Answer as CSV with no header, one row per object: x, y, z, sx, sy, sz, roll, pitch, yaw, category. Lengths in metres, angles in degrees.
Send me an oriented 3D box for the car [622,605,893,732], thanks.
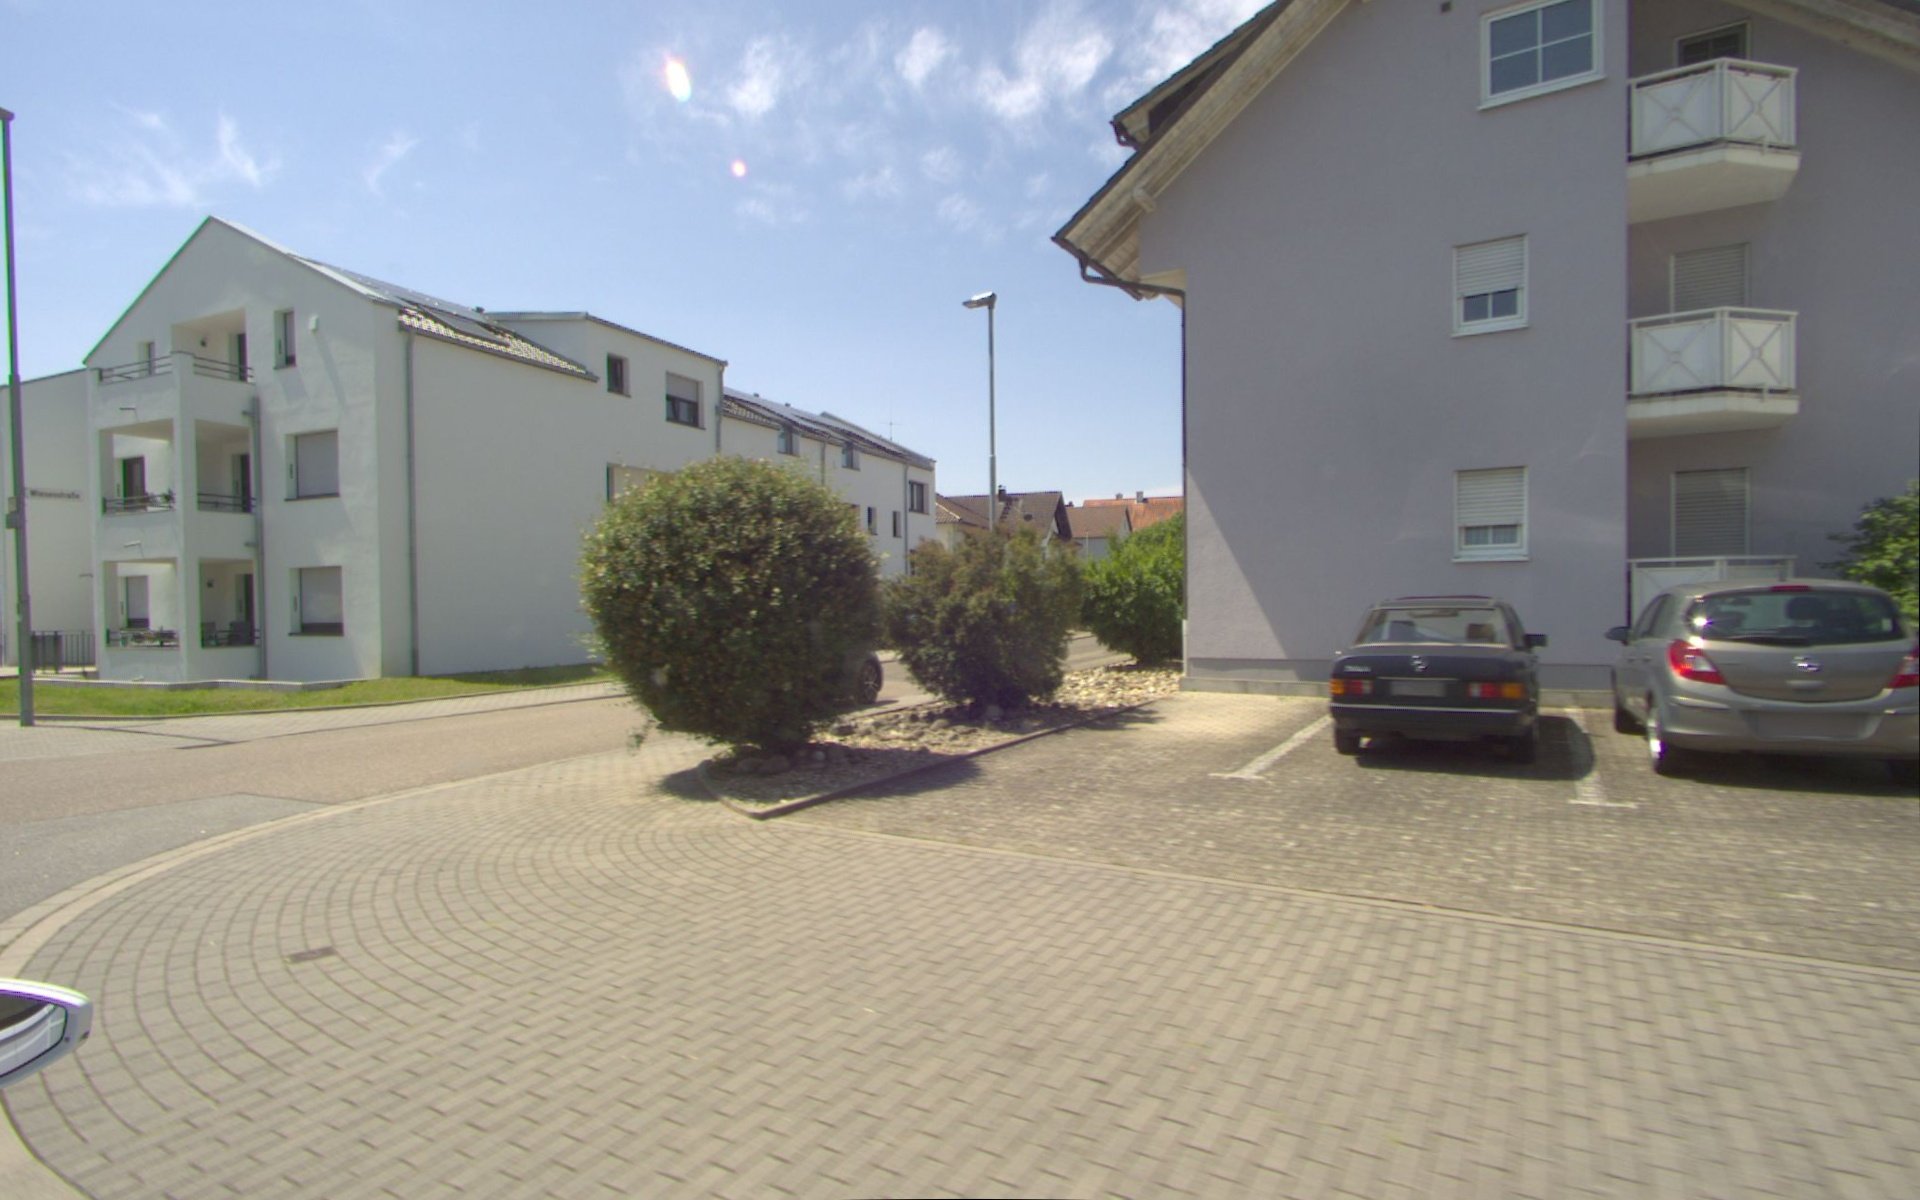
-2.643,0.832,14.052,1.727,1.487,3.992,-1,0,24,car

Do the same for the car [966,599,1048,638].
1.981,0.765,42.357,3.163,1.597,1.458,-1,0,23,car

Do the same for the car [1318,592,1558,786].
4.539,0.645,9.451,1.638,1.392,4.198,0,0,27,car

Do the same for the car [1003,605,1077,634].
3.718,0.898,46.478,3.163,1.297,1.458,-1,0,23,car

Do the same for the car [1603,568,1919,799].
6.542,0.552,8.384,1.638,1.514,3.442,0,0,28,car
